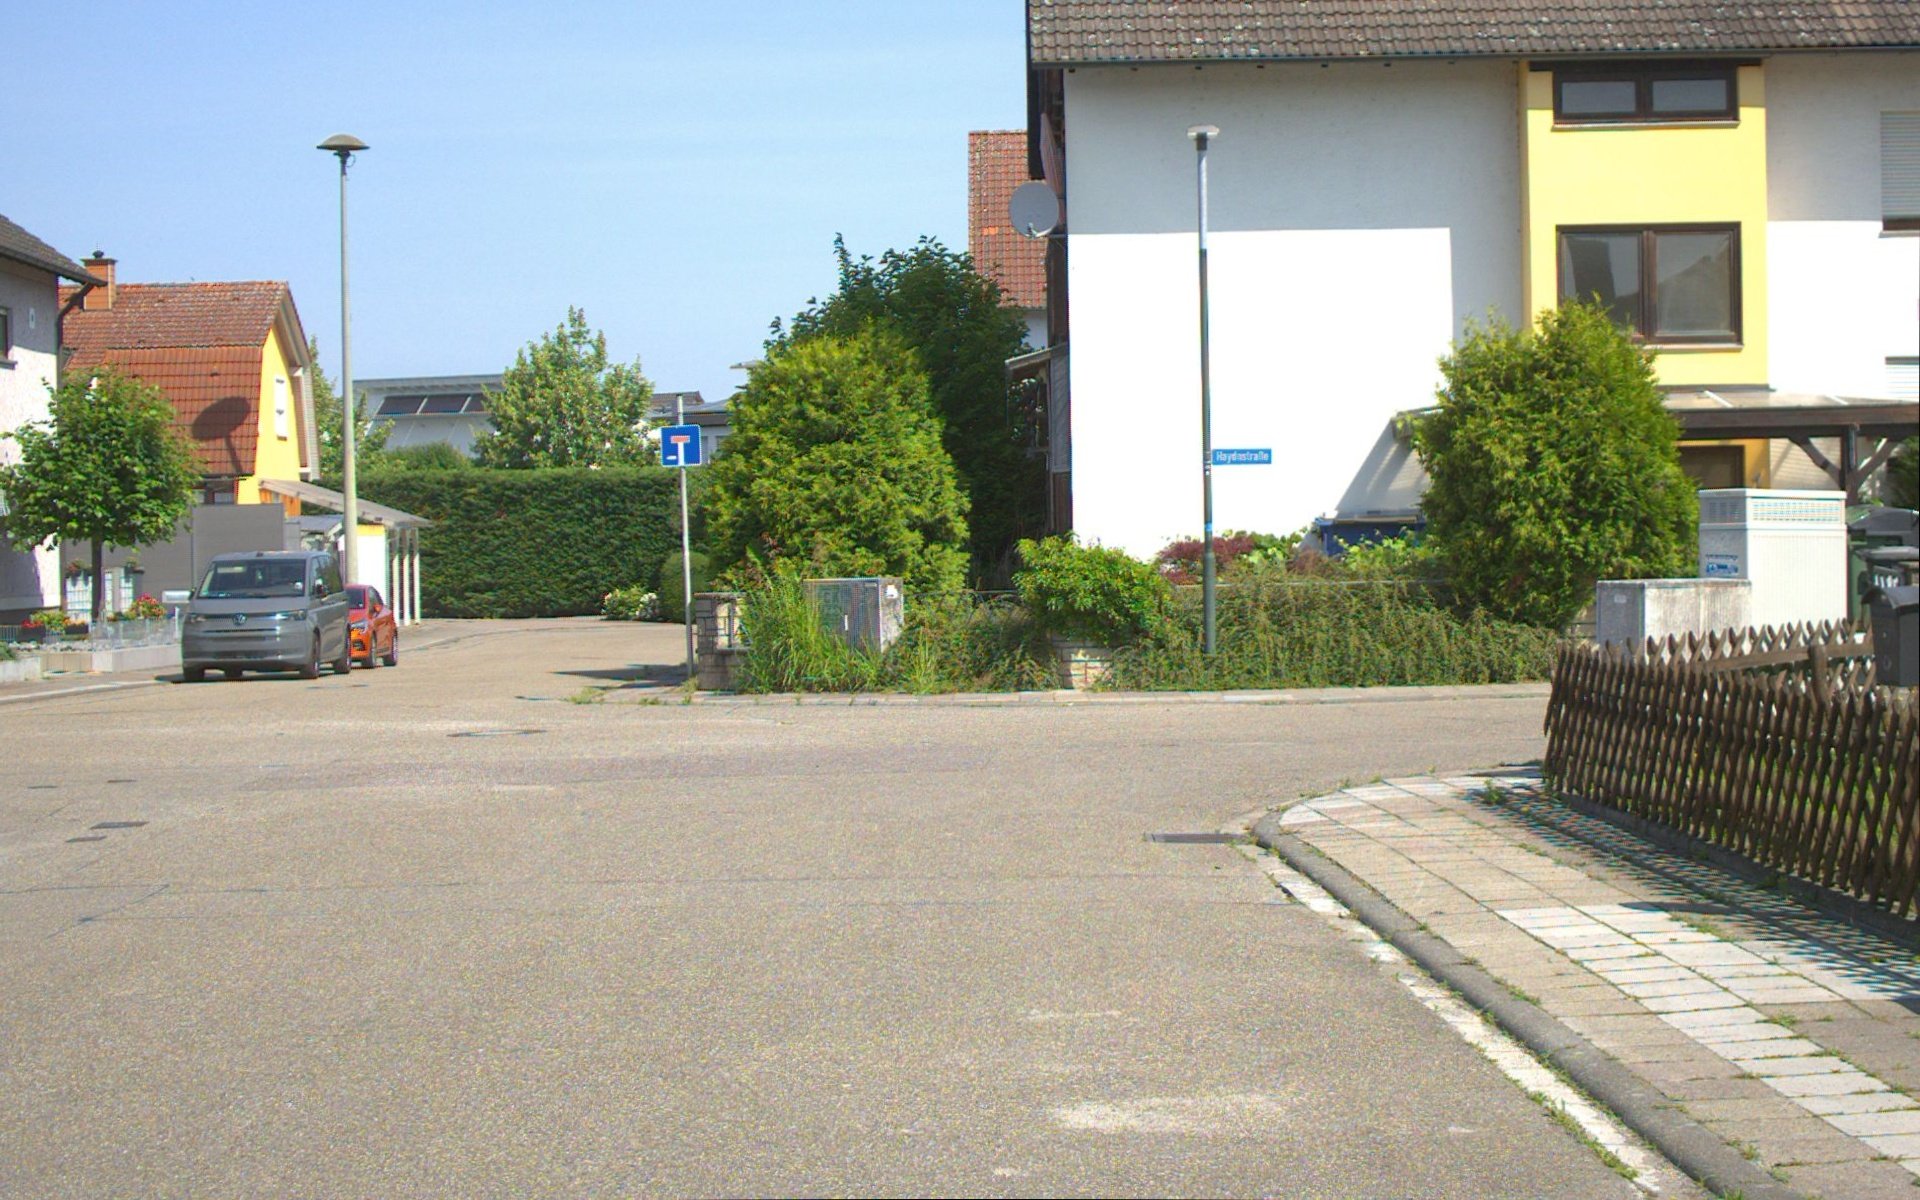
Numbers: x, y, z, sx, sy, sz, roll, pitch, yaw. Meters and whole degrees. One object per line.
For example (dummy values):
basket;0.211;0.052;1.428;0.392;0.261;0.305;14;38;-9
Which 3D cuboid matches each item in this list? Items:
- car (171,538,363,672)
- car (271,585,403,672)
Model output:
car;-10.285;0.034;51.346;1.901;1.863;4.371;-1;1;1
car;-10.470;0.453;57.962;1.651;1.360;3.779;-1;1;-2
